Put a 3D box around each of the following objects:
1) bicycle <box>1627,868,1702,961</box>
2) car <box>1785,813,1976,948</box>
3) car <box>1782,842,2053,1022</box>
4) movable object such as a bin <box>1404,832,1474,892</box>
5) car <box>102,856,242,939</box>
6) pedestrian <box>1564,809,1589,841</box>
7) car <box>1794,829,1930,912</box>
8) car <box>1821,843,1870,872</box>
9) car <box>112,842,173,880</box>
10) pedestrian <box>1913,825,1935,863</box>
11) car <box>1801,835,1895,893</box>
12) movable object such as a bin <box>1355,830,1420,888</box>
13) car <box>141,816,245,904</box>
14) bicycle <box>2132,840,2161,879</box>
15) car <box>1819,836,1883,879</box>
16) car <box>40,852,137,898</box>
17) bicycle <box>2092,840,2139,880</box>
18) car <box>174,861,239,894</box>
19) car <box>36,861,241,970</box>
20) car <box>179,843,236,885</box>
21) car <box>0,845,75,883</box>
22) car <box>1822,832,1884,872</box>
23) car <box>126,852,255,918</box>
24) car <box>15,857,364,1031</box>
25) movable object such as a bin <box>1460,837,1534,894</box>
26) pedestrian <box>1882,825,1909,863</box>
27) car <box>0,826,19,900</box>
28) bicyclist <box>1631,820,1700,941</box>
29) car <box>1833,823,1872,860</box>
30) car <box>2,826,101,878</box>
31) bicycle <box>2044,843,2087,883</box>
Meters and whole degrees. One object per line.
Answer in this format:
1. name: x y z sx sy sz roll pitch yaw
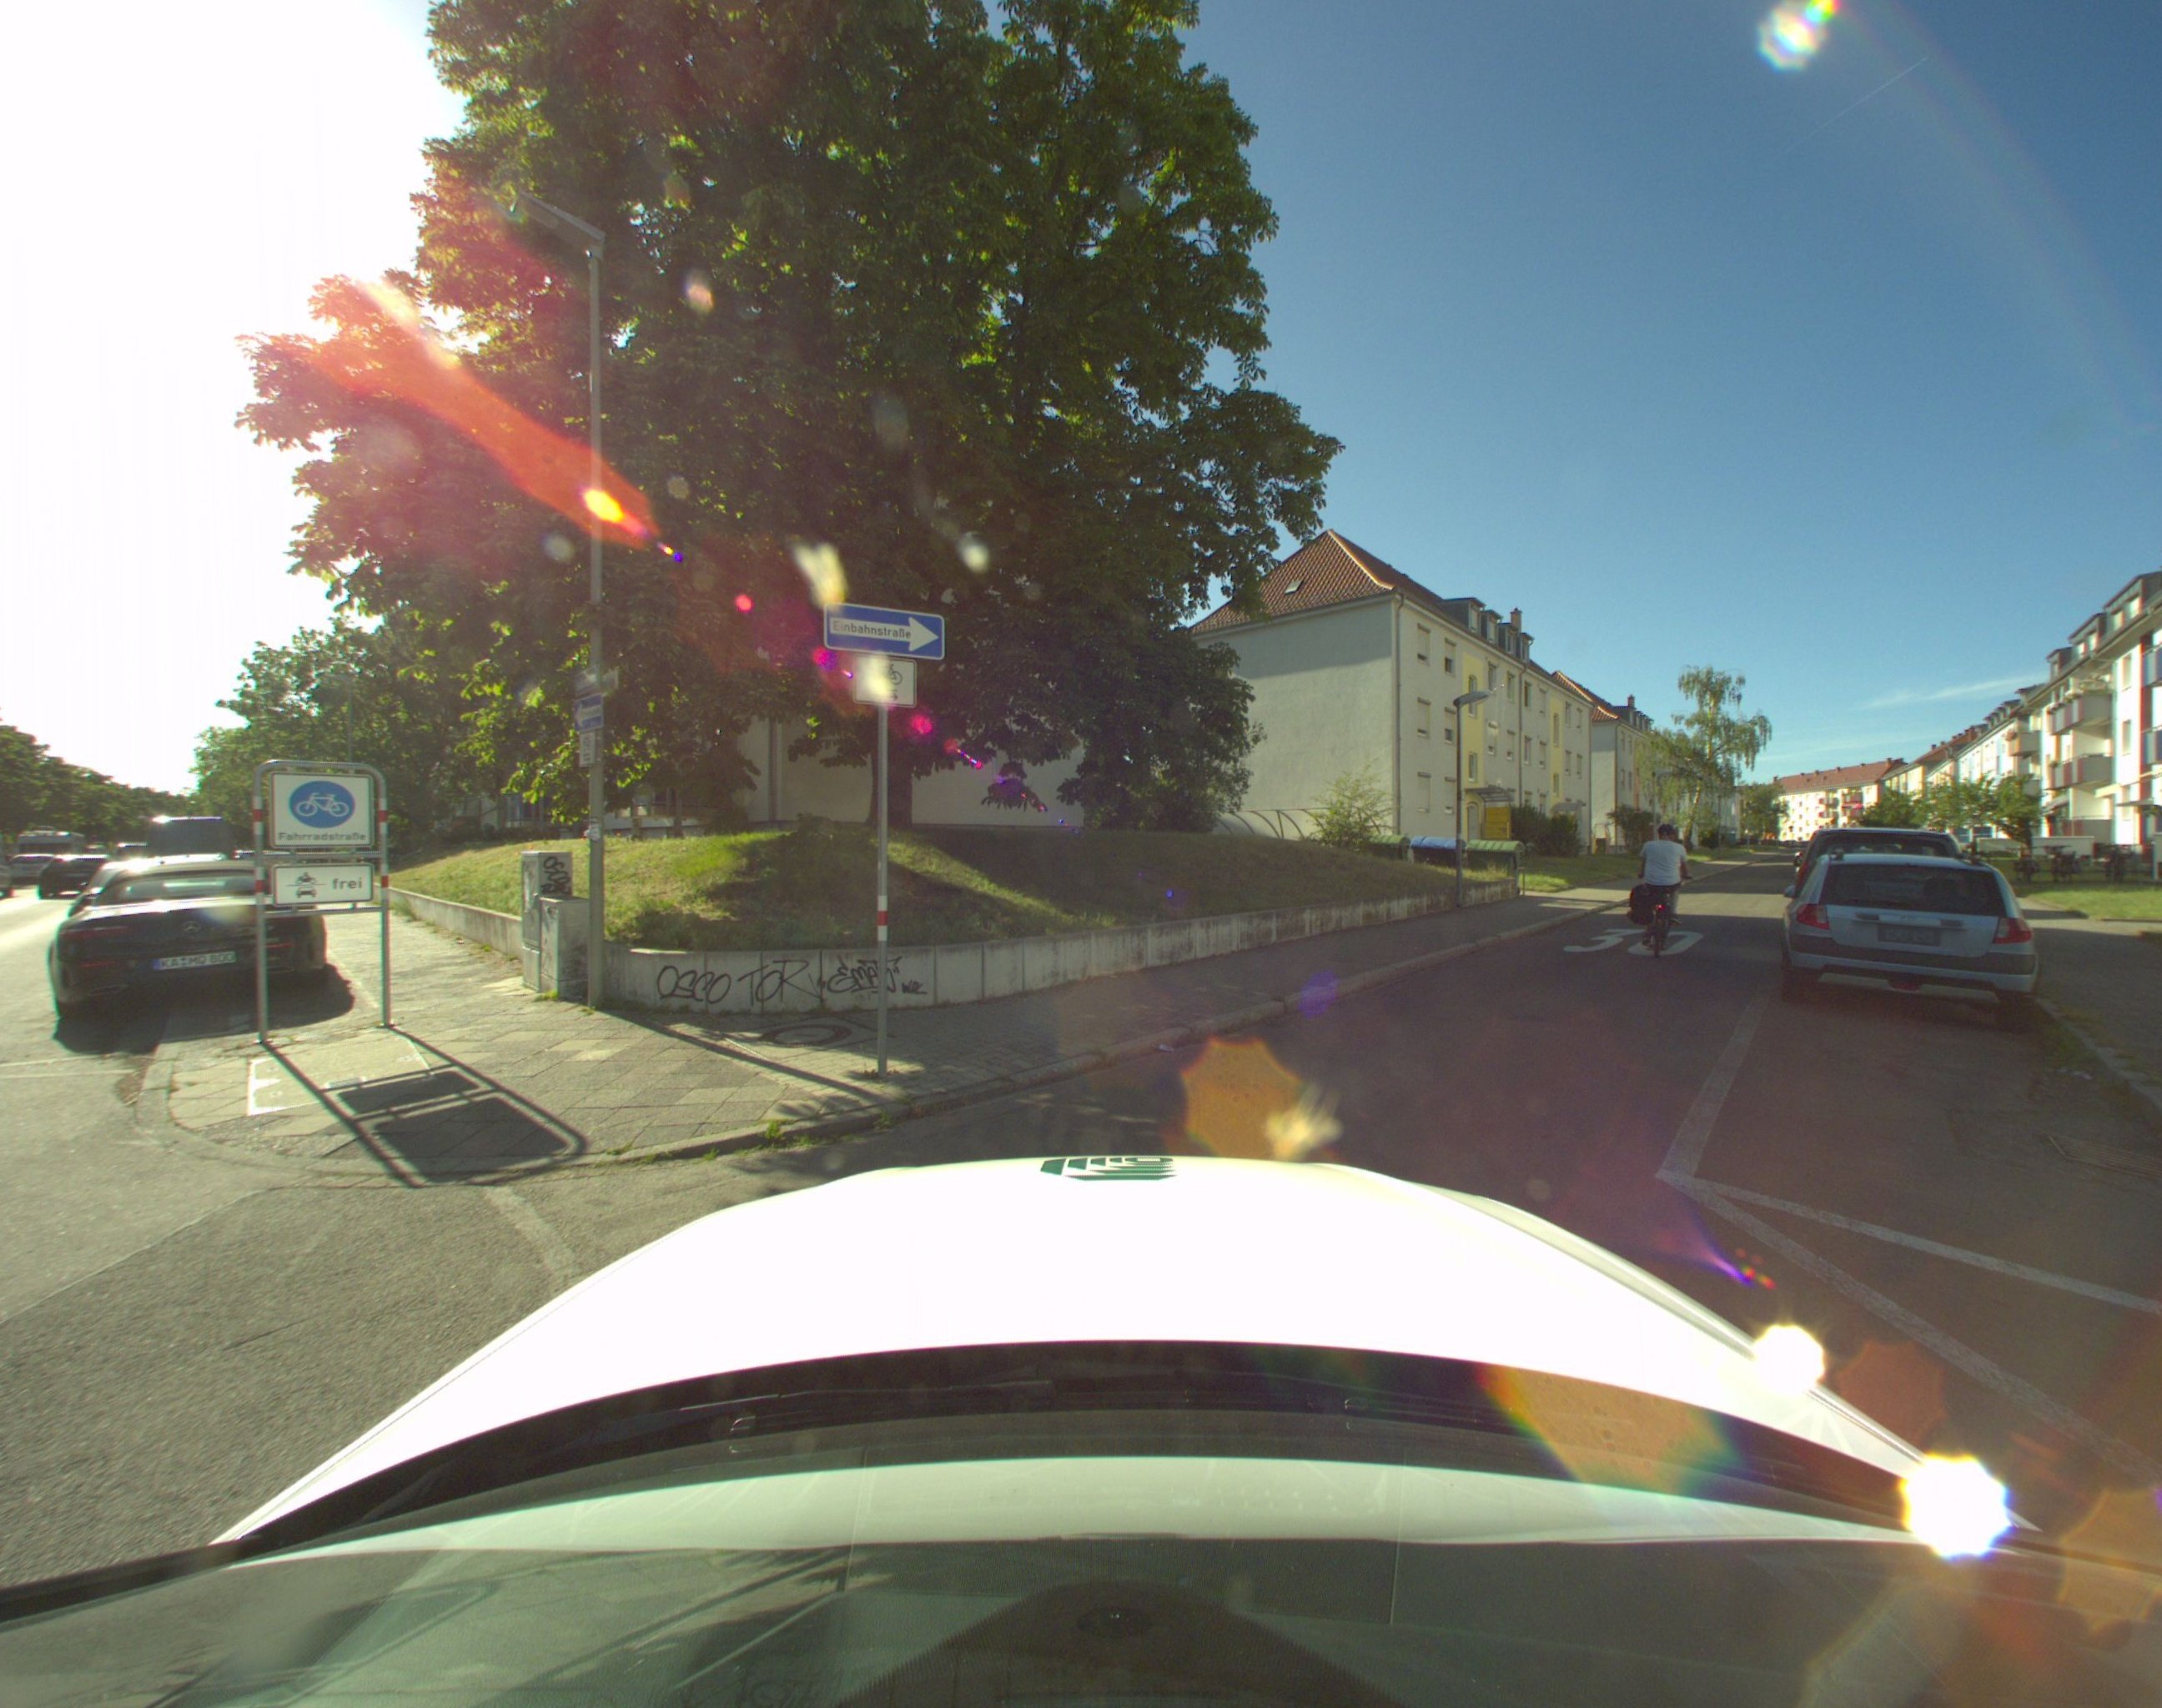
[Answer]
1. bicycle: 8.133 0.787 11.326 0.654 1.127 1.777 1 1 42
2. car: 12.251 0.304 12.616 1.846 1.730 4.321 0 1 43
3. car: 8.476 0.604 8.581 1.637 1.429 3.924 0 1 40
4. movable object such as a bin: 10.094 0.193 22.964 1.485 1.622 1.271 0 1 43
5. car: -19.050 0.815 17.166 3.981 1.487 1.796 0 1 43
6. pedestrian: 26.861 -1.567 44.159 0.961 1.715 0.952 0 1 43
7. car: 16.979 0.282 17.862 1.964 1.592 4.150 0 1 42
8. car: 41.422 0.143 44.164 1.876 1.496 4.117 0 1 43
9. car: -53.882 0.364 46.821 1.912 1.991 3.960 -3 2 -45
10. pedestrian: 45.799 -0.538 44.246 0.783 2.013 1.089 -1 0 43
11. car: 20.649 0.216 22.034 1.740 1.432 3.651 1 1 42
12. movable object such as a bin: 9.004 0.130 23.946 1.445 1.613 1.198 0 1 43
13. car: -29.966 0.167 27.431 5.347 2.689 2.183 0 1 41
14. bicycle: 29.964 0.142 22.721 0.509 1.054 1.876 0 1 43
15. car: 29.084 0.072 30.846 1.616 1.490 3.645 2 2 42
16. car: -35.373 0.689 29.128 1.795 1.531 3.951 1 0 -45
17. bicycle: 29.236 0.141 23.036 0.554 1.093 1.912 0 1 43
18. car: -43.166 1.129 40.266 2.007 1.487 4.075 -1 1 -45
19. car: -14.531 0.827 12.784 1.796 1.371 4.075 -1 1 -45
20. car: -51.017 0.552 47.628 5.199 2.292 2.183 0 1 43
21. car: -52.357 0.453 40.777 2.028 1.785 4.075 -2 1 -45
22. car: 32.559 -0.114 34.398 1.818 1.557 4.024 0 1 43
23. car: -22.528 0.712 20.756 2.007 1.487 4.075 -1 1 -45
24. car: -9.783 0.771 9.233 2.145 1.337 4.450 -5 3 -45
25. movable object such as a bin: 11.235 0.280 22.012 1.478 1.478 1.272 0 1 43
26. pedestrian: 43.992 -0.540 43.982 1.031 2.013 1.029 0 0 45
27. car: -38.019 0.312 27.483 2.118 2.496 4.075 -1 1 -45
28. bicyclist: 8.090 0.344 11.269 0.687 1.596 0.796 0 0 41
29. car: 45.651 -0.748 48.229 1.604 2.143 4.024 0 1 43
30. car: -56.341 -0.110 44.702 2.640 2.645 6.038 -1 1 -45
31. bicycle: 28.515 0.234 23.604 0.554 1.093 1.912 0 1 43
